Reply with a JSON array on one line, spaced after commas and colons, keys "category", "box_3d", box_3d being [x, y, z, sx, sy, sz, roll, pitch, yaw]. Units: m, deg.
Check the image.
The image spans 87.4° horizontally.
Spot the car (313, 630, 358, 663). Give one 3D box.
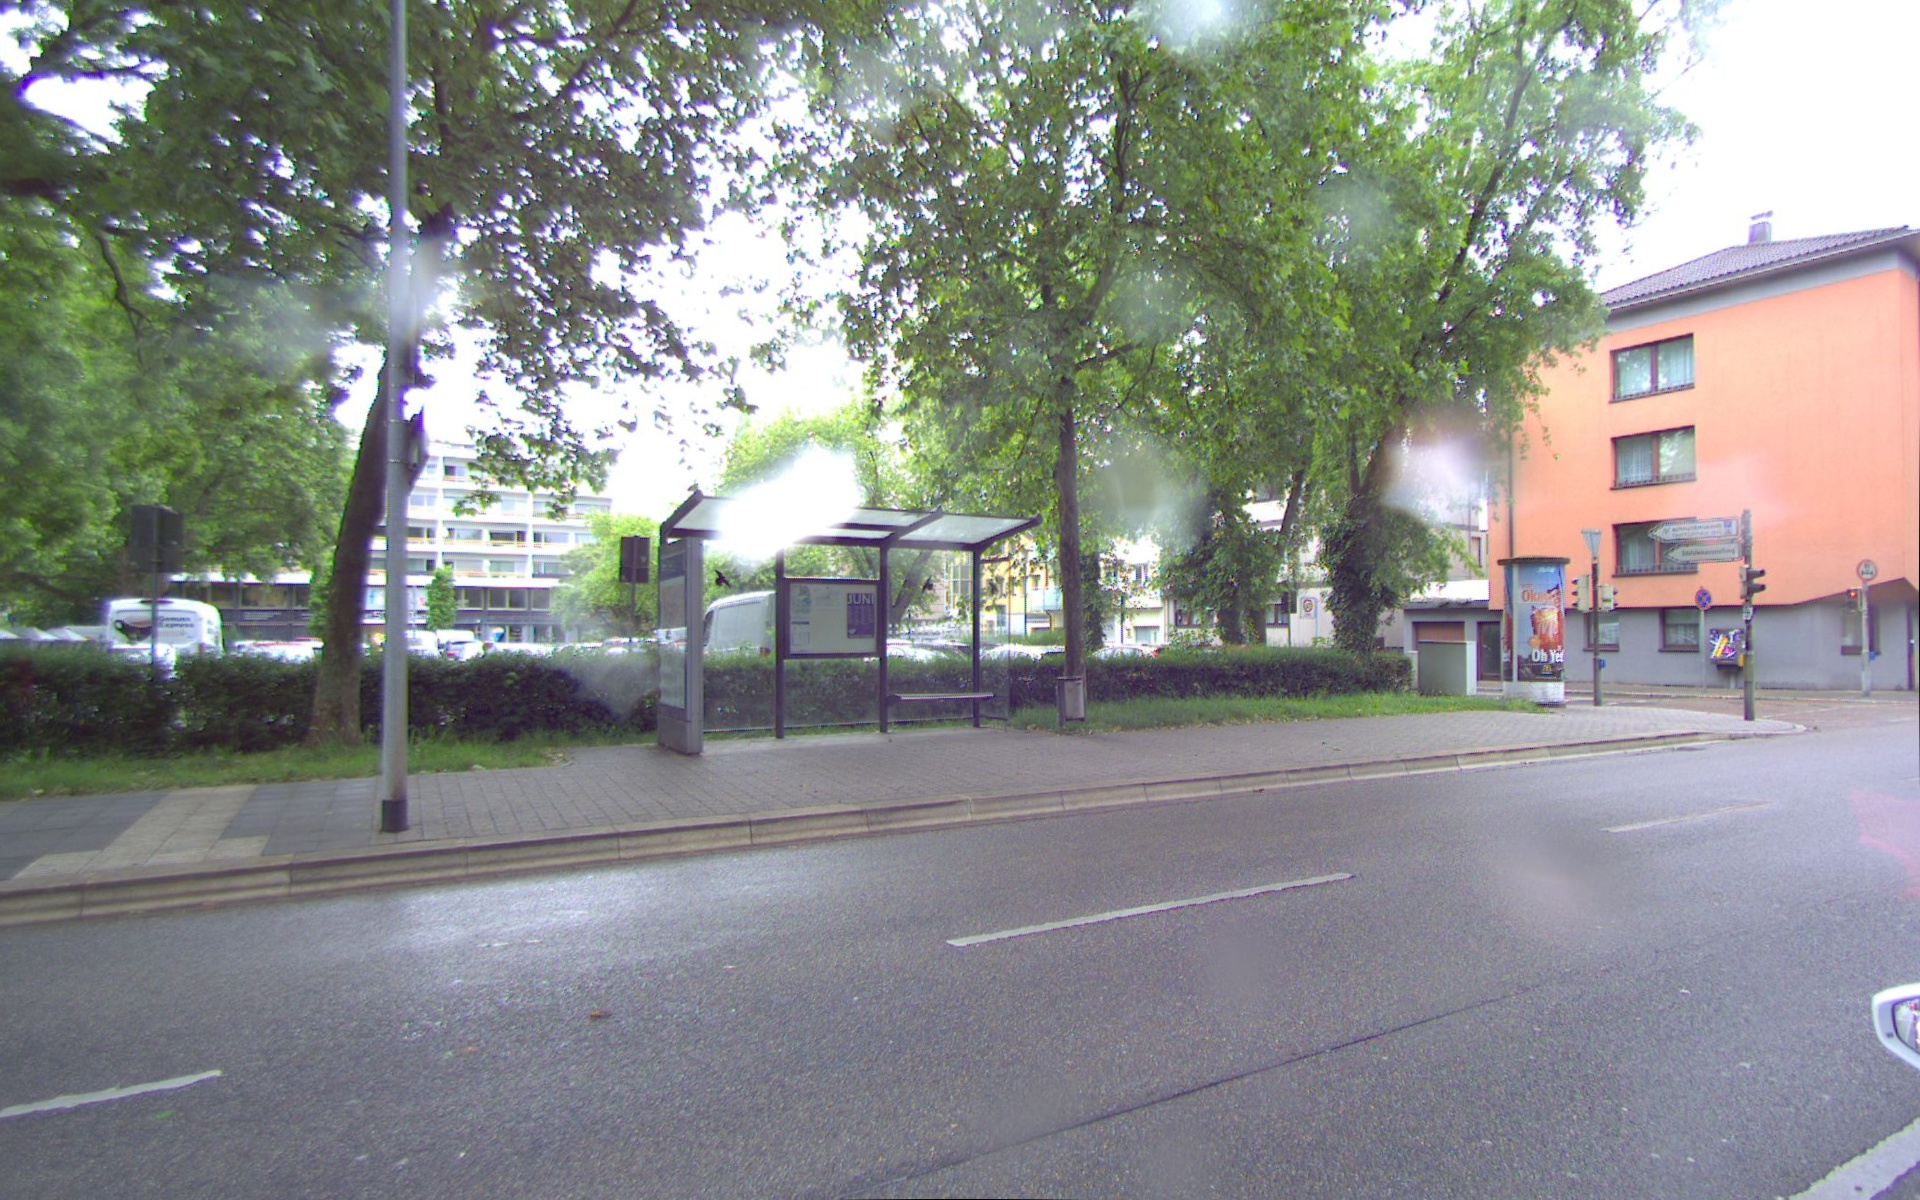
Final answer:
[{"category": "car", "box_3d": [-31.414, 2.313, 50.577, 1.818, 1.444, 3.799, 2, 0, -31]}]

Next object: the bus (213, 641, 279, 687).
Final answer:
[{"category": "bus", "box_3d": [-25.541, 2.271, 36.009, 1.587, 1.559, 3.403, 2, -3, -30]}]

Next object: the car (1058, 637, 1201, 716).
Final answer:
[{"category": "car", "box_3d": [3.813, 1.684, 23.036, 1.492, 1.544, 3.174, 2, 0, -32]}]

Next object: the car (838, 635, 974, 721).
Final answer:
[{"category": "car", "box_3d": [-1.203, 1.574, 21.182, 1.492, 1.544, 3.174, 2, 0, -32]}]

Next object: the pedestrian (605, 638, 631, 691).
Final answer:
[{"category": "pedestrian", "box_3d": [-8.160, 1.532, 23.961, 0.462, 1.229, 0.434, 2, 0, -37]}]

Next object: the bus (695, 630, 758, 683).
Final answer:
[{"category": "bus", "box_3d": [-7.822, 1.865, 33.517, 1.363, 1.698, 2.779, 1, -3, -28]}]

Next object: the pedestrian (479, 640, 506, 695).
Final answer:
[{"category": "pedestrian", "box_3d": [-10.813, 1.550, 23.245, 0.462, 1.229, 0.434, 2, 0, -37]}]

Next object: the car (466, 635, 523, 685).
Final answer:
[{"category": "car", "box_3d": [-14.535, 1.846, 31.278, 1.375, 1.454, 3.248, 1, -3, -29]}]

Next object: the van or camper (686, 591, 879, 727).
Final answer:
[{"category": "van or camper", "box_3d": [-3.421, 1.057, 18.687, 2.026, 2.198, 4.458, 2, -3, -32]}]

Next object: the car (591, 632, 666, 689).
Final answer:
[{"category": "car", "box_3d": [-9.104, 1.622, 27.504, 1.375, 1.454, 3.248, 1, -3, -29]}]

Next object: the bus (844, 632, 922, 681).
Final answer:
[{"category": "bus", "box_3d": [-2.455, 1.754, 31.548, 1.364, 1.451, 2.777, 2, -3, -30]}]

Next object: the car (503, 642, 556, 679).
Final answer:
[{"category": "car", "box_3d": [-17.689, 2.454, 41.231, 1.587, 1.447, 3.293, 2, -3, -30]}]

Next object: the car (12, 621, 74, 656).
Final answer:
[{"category": "car", "box_3d": [-40.807, 1.693, 44.759, 1.412, 1.447, 2.941, 1, 0, -30]}]

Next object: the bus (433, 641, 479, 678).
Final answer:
[{"category": "bus", "box_3d": [-22.365, 2.610, 44.564, 1.587, 1.559, 3.403, 2, -3, -30]}]

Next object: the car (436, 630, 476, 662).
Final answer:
[{"category": "car", "box_3d": [-27.155, 2.459, 54.104, 1.622, 1.544, 3.174, 2, 0, -32]}]

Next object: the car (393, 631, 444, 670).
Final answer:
[{"category": "car", "box_3d": [-20.893, 1.946, 38.681, 1.587, 1.447, 3.293, 2, -3, -30]}]

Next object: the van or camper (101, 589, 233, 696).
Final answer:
[{"category": "van or camper", "box_3d": [-20.690, 1.121, 26.419, 2.074, 2.570, 4.391, 1, -3, -30]}]

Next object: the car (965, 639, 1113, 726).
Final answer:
[{"category": "car", "box_3d": [1.592, 1.659, 21.165, 1.492, 1.544, 3.174, 2, 0, -32]}]

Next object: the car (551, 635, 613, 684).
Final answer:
[{"category": "car", "box_3d": [-11.951, 1.859, 31.678, 1.375, 1.454, 3.248, 1, -3, -29]}]

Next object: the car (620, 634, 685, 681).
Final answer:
[{"category": "car", "box_3d": [-9.986, 1.837, 32.473, 1.375, 1.454, 3.248, 1, -3, -29]}]

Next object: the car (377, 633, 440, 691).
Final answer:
[{"category": "car", "box_3d": [-14.726, 1.631, 26.848, 1.375, 1.454, 3.248, 1, -3, -29]}]

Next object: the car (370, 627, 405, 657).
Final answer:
[{"category": "car", "box_3d": [-33.037, 2.400, 57.908, 1.622, 1.544, 3.174, 1, 1, -32]}]

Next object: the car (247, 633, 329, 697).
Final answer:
[{"category": "car", "box_3d": [-16.503, 1.567, 24.787, 1.375, 1.454, 3.248, 1, -3, -29]}]
